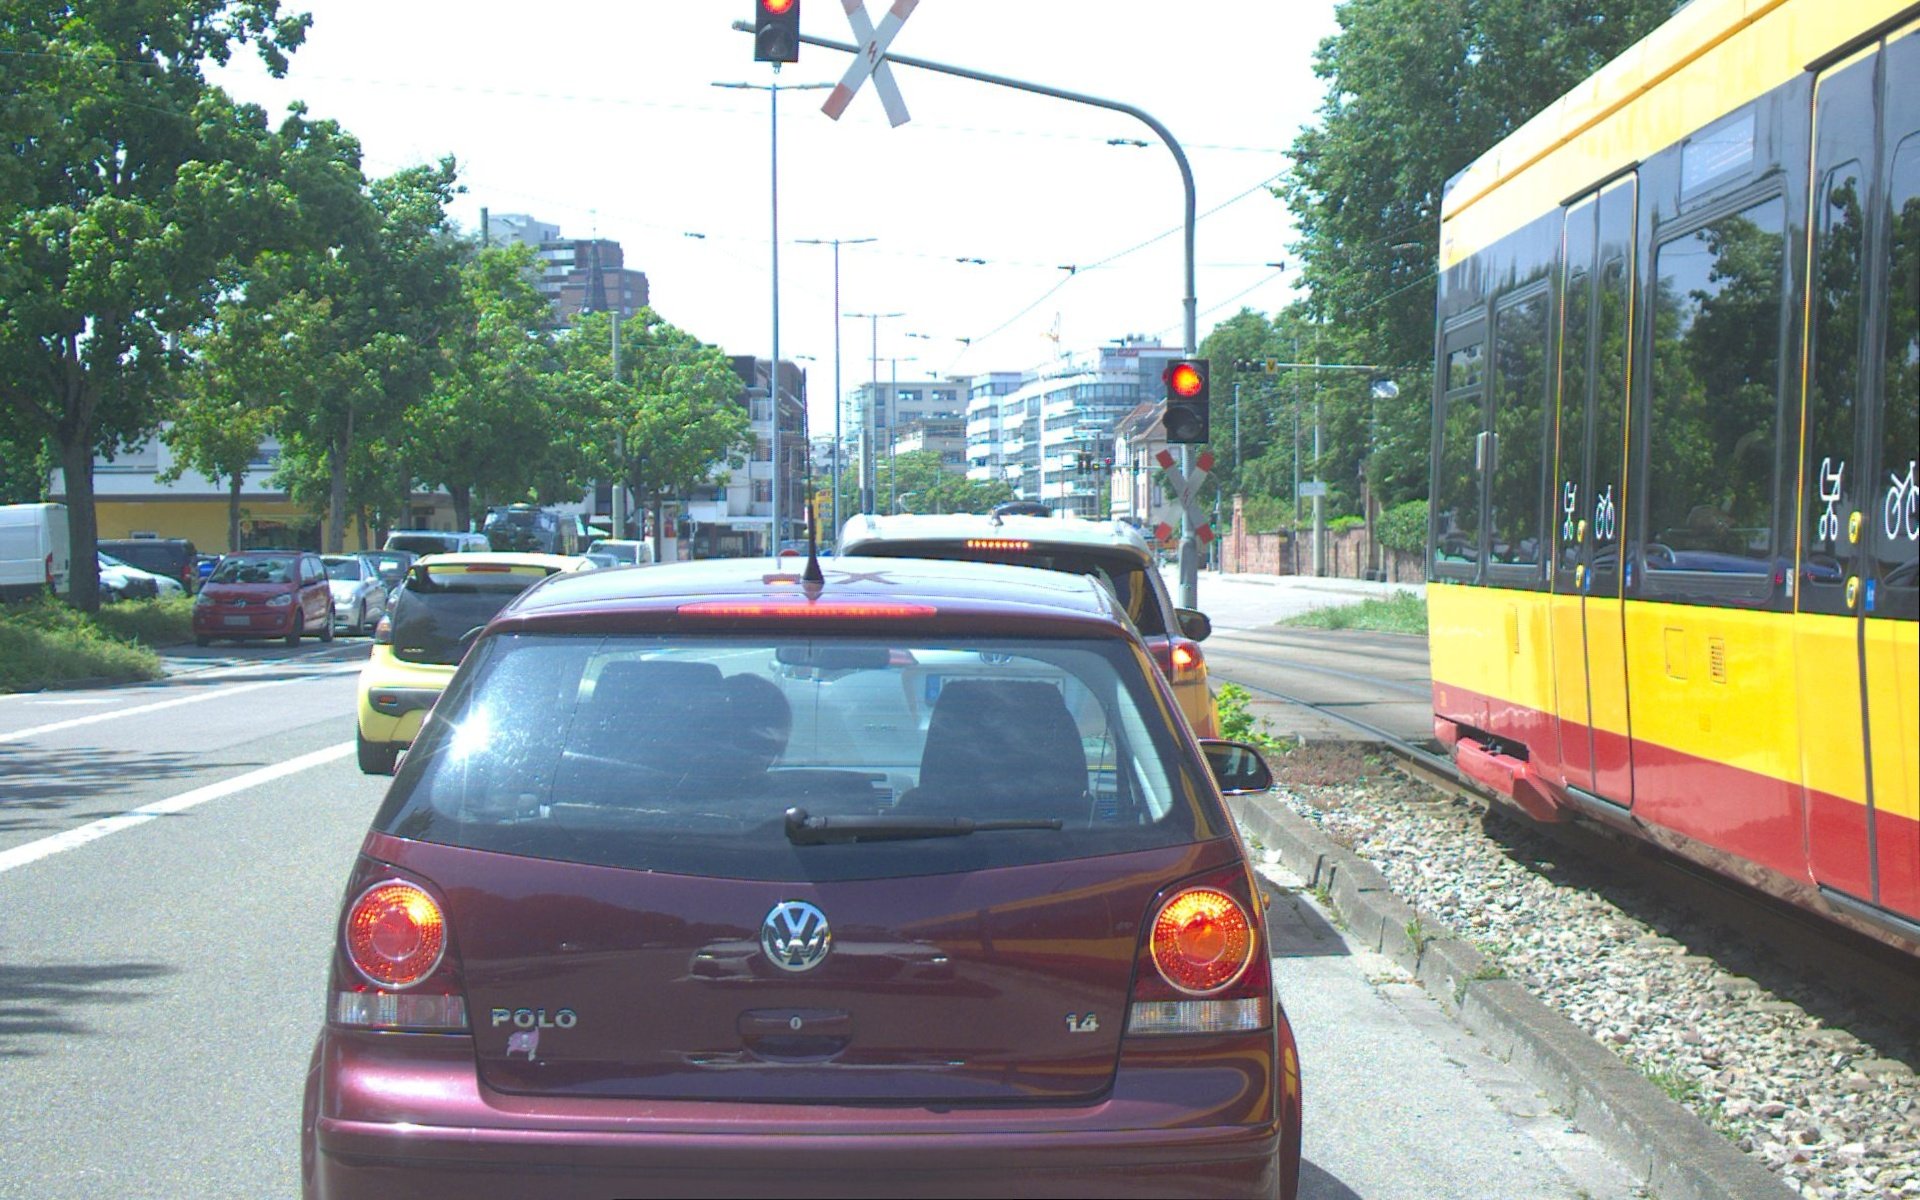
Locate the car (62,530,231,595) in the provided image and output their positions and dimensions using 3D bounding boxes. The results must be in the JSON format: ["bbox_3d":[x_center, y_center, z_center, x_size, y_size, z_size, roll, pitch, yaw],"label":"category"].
[{"bbox_3d":[-21.696,-0.992,91.735,4.020,1.611,1.816,2,0,1],"label":"car"}]

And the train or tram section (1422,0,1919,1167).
[{"bbox_3d":[3.741,-0.463,11.721,2.741,3.597,10.950,2,1,0],"label":"train or tram section"}]

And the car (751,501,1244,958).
[{"bbox_3d":[0.090,0.437,14.641,1.777,1.641,4.000,1,1,-1],"label":"car"}]

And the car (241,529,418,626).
[{"bbox_3d":[-11.118,-0.389,60.946,1.976,1.595,4.557,2,0,4],"label":"car"}]

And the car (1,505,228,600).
[{"bbox_3d":[-21.421,-1.202,87.284,5.097,2.237,2.378,2,0,1],"label":"car"}]

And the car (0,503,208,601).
[{"bbox_3d":[-21.374,-1.186,84.730,5.097,2.237,2.378,2,0,1],"label":"car"}]

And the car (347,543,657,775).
[{"bbox_3d":[-3.035,0.343,23.376,1.690,1.406,3.516,1,1,-1],"label":"car"}]

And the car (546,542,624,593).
[{"bbox_3d":[-11.018,-0.946,101.296,1.614,1.436,4.000,2,0,3],"label":"car"}]

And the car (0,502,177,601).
[{"bbox_3d":[-21.600,-1.179,82.257,5.097,2.237,2.378,2,0,1],"label":"car"}]

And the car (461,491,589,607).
[{"bbox_3d":[-10.604,-1.225,84.222,2.361,2.683,5.307,2,0,0],"label":"car"}]

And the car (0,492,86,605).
[{"bbox_3d":[-20.895,-1.110,70.863,5.097,2.237,2.378,2,0,1],"label":"car"}]

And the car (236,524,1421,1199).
[{"bbox_3d":[-0.238,0.635,6.929,1.672,1.516,4.000,1,1,-1],"label":"car"}]

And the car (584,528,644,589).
[{"bbox_3d":[-10.818,-1.286,107.507,1.774,1.822,4.001,2,0,-6],"label":"car"}]

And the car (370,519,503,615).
[{"bbox_3d":[-10.792,-0.673,71.183,1.783,1.875,4.785,2,0,2],"label":"car"}]

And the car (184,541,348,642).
[{"bbox_3d":[-10.941,-0.141,54.399,1.663,1.491,4.000,2,0,1],"label":"car"}]
